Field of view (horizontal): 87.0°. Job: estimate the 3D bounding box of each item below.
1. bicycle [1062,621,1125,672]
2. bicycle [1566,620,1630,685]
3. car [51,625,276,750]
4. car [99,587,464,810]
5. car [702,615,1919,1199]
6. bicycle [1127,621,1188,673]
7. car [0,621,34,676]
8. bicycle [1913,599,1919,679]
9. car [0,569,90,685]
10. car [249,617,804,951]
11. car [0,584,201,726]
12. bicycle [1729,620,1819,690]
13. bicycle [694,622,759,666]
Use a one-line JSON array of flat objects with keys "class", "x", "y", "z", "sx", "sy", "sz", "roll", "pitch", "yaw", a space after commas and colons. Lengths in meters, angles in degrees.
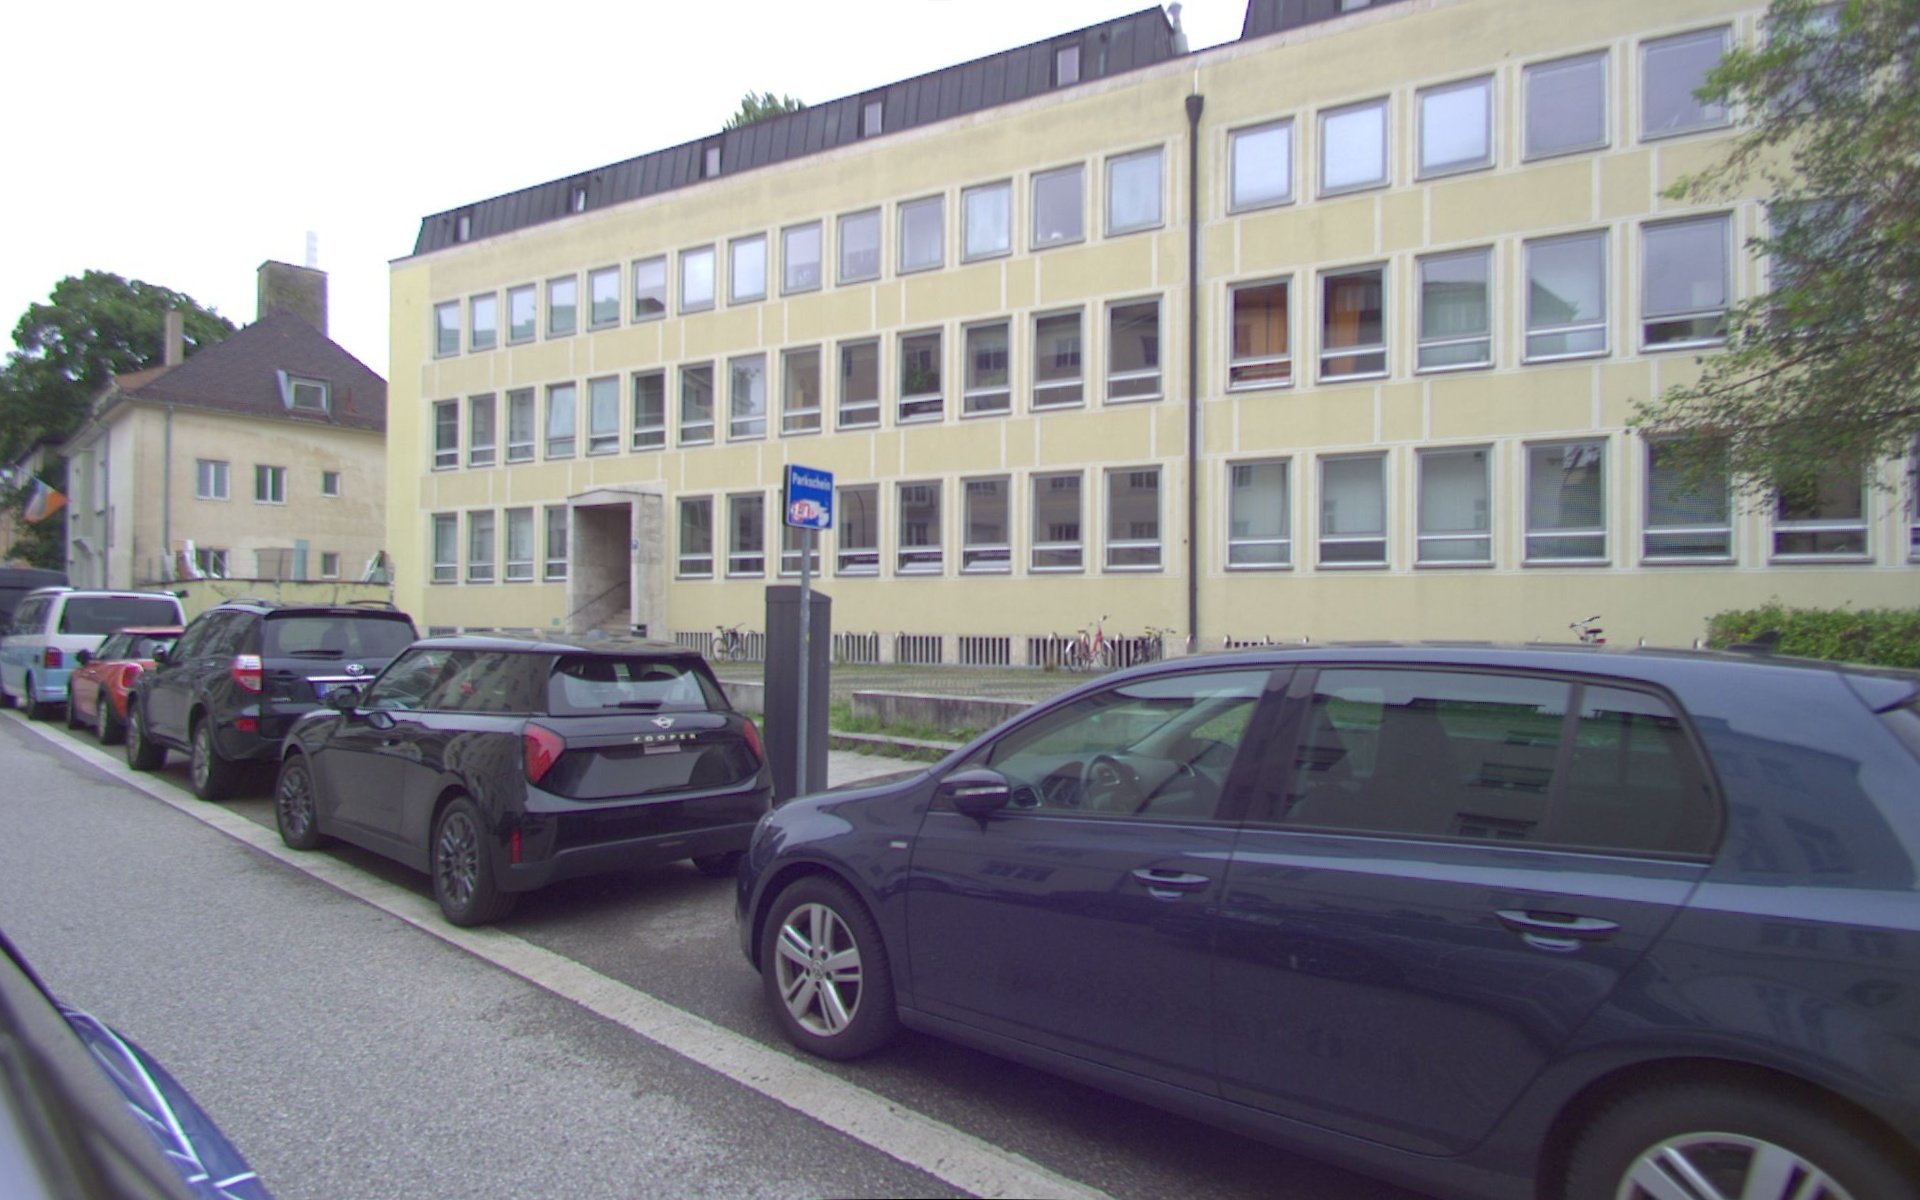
[{"class": "bicycle", "x": 2.901, "y": 0.978, "z": 21.792, "sx": 0.623, "sy": 1.022, "sz": 1.932, "roll": -1, "pitch": -1, "yaw": 31}, {"class": "bicycle", "x": 10.725, "y": 0.860, "z": 17.066, "sx": 0.622, "sy": 1.022, "sz": 1.937, "roll": -1, "pitch": -1, "yaw": 24}, {"class": "car", "x": -10.767, "y": 1.055, "z": 13.588, "sx": 3.917, "sy": 1.398, "sz": 1.725, "roll": -1, "pitch": -1, "yaw": 42}, {"class": "car", "x": -6.677, "y": 0.833, "z": 9.757, "sx": 4.446, "sy": 1.679, "sz": 1.725, "roll": -1, "pitch": -5, "yaw": 41}, {"class": "car", "x": 1.106, "y": 0.811, "z": 3.184, "sx": 3.969, "sy": 1.465, "sz": 1.640, "roll": -1, "pitch": -3, "yaw": 39}, {"class": "bicycle", "x": 4.131, "y": 0.948, "z": 21.059, "sx": 0.623, "sy": 1.022, "sz": 1.932, "roll": -1, "pitch": -1, "yaw": 31}, {"class": "car", "x": -27.905, "y": 1.360, "z": 28.814, "sx": 3.484, "sy": 1.505, "sz": 1.685, "roll": -1, "pitch": -1, "yaw": 37}, {"class": "bicycle", "x": 15.131, "y": 0.590, "z": 14.735, "sx": 1.050, "sy": 1.258, "sz": 2.422, "roll": -1, "pitch": -1, "yaw": 24}, {"class": "car", "x": -23.895, "y": 0.687, "z": 25.554, "sx": 5.653, "sy": 2.666, "sz": 2.272, "roll": -1, "pitch": -3, "yaw": 43}, {"class": "car", "x": -2.897, "y": 0.874, "z": 6.378, "sx": 3.867, "sy": 1.465, "sz": 1.663, "roll": -1, "pitch": -3, "yaw": 41}, {"class": "car", "x": -14.376, "y": 0.834, "z": 16.574, "sx": 5.017, "sy": 1.994, "sz": 1.909, "roll": -1, "pitch": -2, "yaw": 39}, {"class": "bicycle", "x": 12.902, "y": 0.840, "z": 16.105, "sx": 0.622, "sy": 1.022, "sz": 1.937, "roll": -1, "pitch": -1, "yaw": 24}, {"class": "bicycle", "x": -5.985, "y": 1.109, "z": 26.044, "sx": 0.577, "sy": 1.022, "sz": 1.937, "roll": -1, "pitch": 0, "yaw": 24}]
